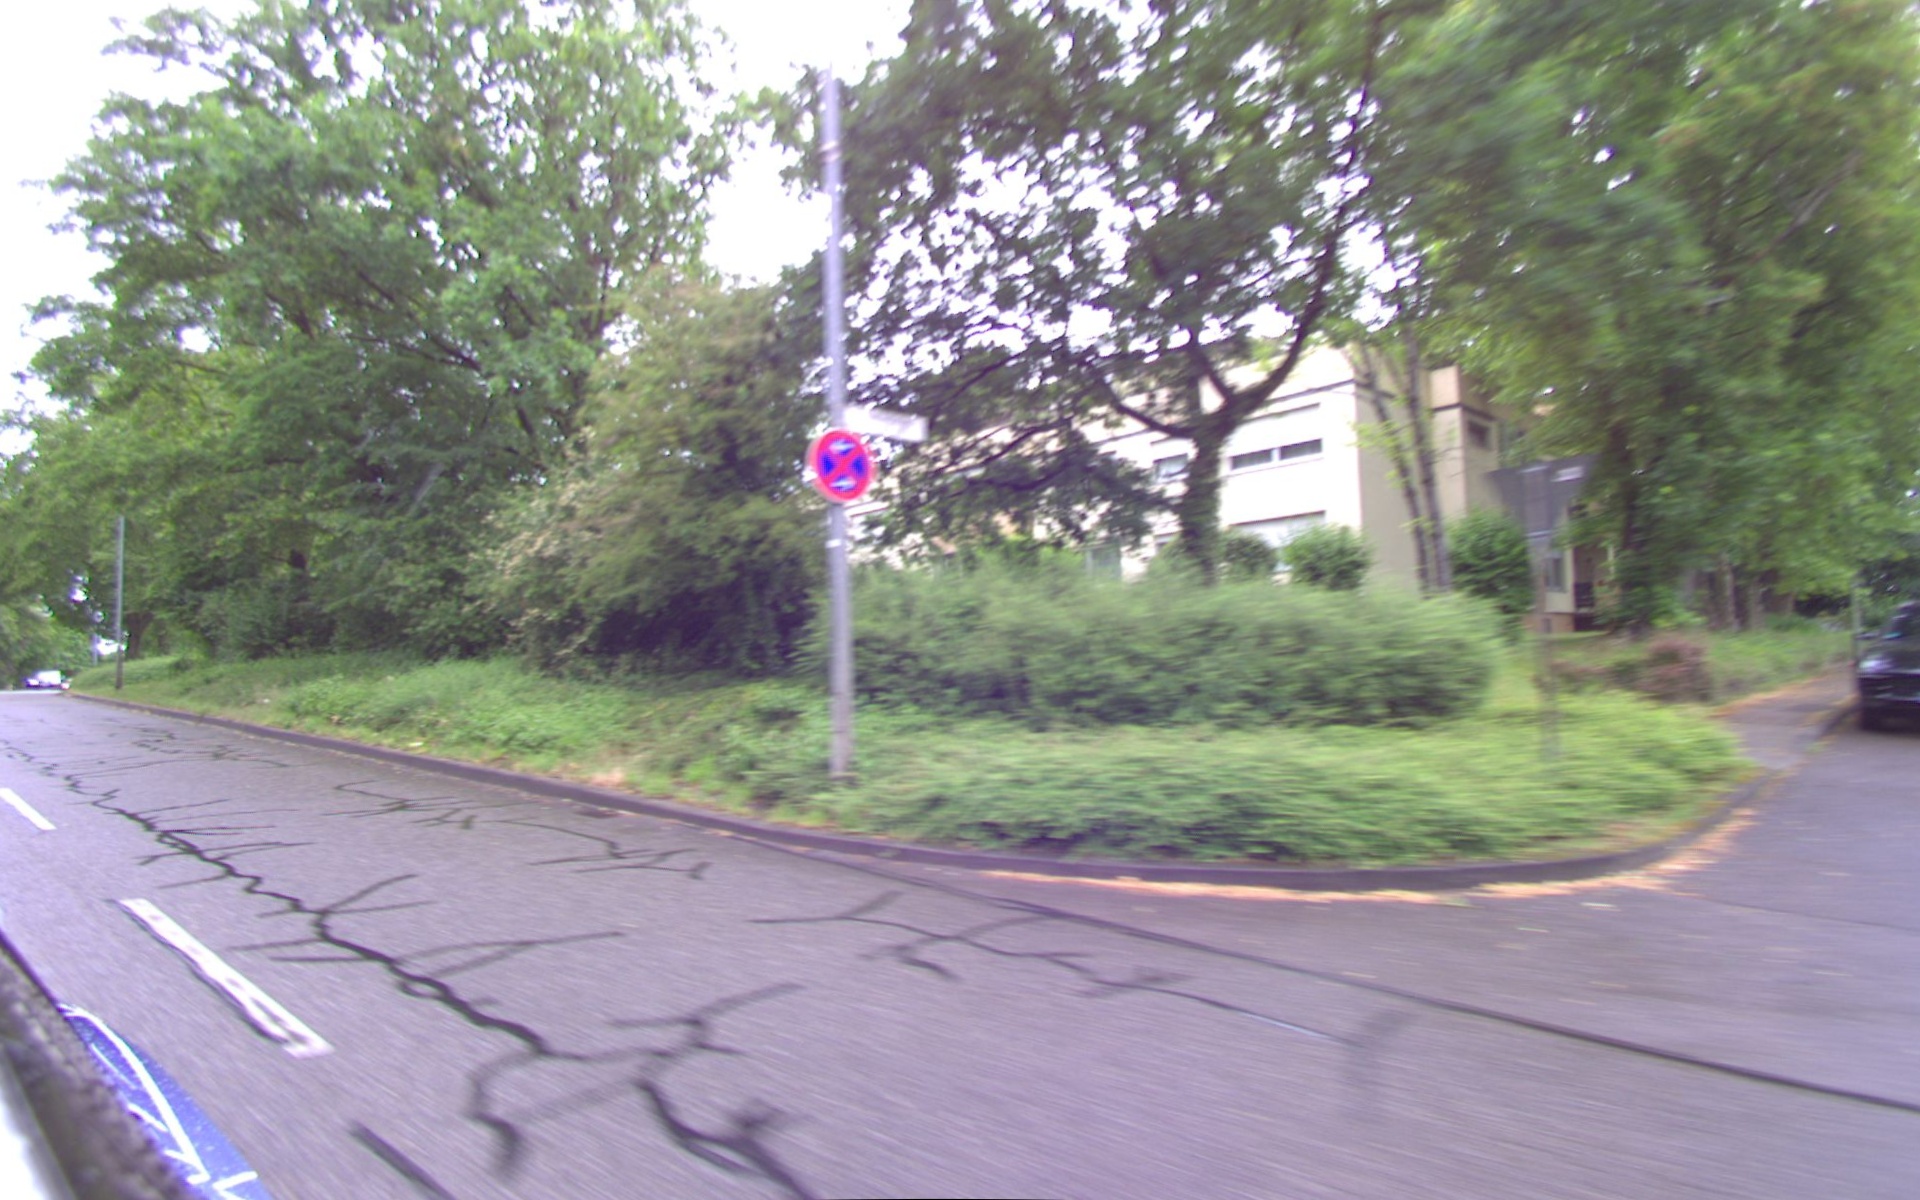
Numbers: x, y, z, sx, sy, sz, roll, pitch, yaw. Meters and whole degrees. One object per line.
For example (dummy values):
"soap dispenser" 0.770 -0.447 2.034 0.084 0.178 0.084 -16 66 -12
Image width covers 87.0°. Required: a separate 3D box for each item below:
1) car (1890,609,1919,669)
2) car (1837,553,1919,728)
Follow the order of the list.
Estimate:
"car" 24.959 0.980 25.810 3.939 1.461 1.554 1 -1 -43
"car" 12.864 0.453 12.725 3.936 2.029 2.003 0 -5 -39
